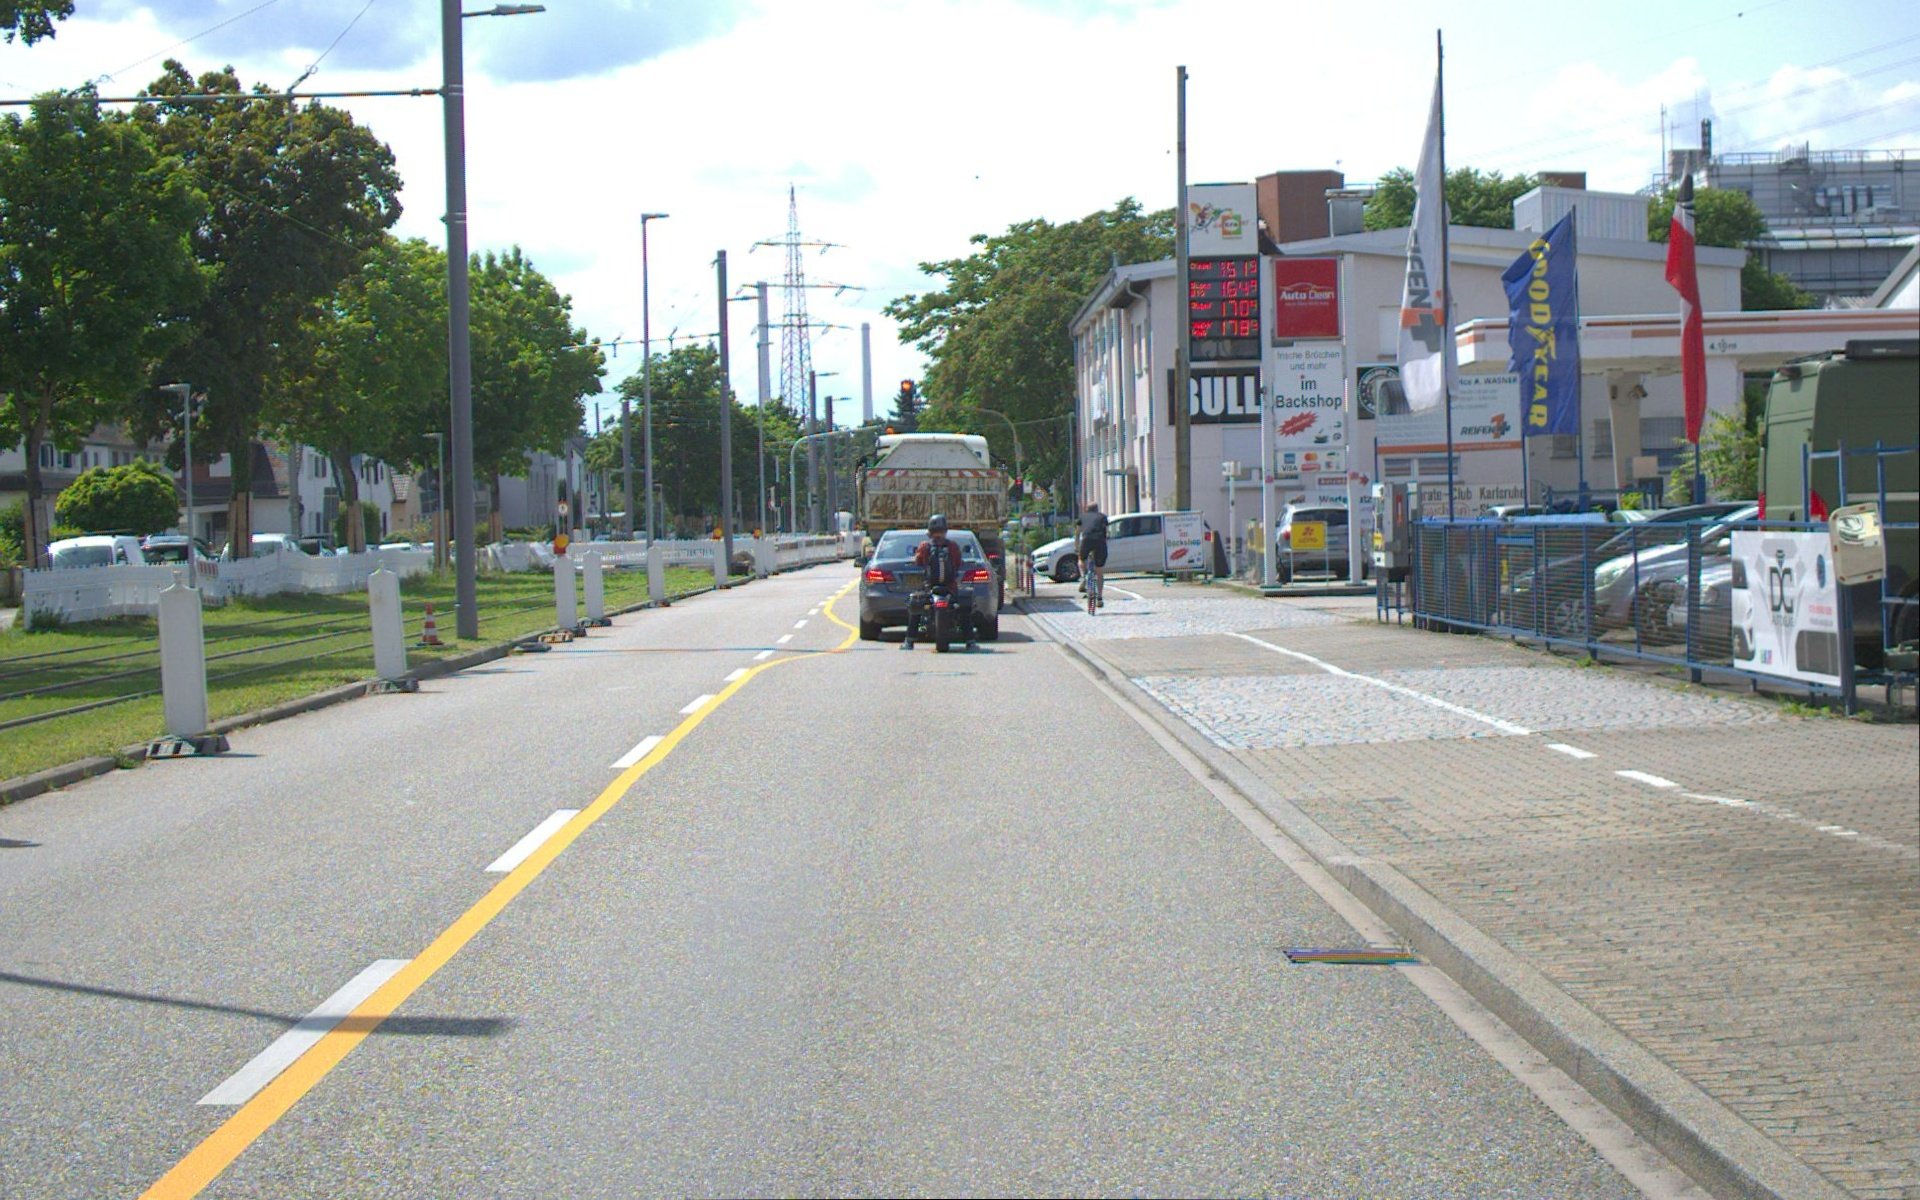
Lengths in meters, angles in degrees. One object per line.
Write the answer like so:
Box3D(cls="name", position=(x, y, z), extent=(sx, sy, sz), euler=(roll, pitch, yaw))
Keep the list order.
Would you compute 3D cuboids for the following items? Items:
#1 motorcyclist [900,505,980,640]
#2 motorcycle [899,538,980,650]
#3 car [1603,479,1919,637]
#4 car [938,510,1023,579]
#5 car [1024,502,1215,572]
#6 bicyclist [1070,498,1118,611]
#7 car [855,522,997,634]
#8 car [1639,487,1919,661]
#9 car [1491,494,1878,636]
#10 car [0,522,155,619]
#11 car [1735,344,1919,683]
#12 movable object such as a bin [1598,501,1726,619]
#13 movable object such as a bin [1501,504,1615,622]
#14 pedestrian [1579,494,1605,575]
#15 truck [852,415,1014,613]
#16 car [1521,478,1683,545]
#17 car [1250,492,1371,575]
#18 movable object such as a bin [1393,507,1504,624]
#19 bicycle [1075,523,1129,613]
Box3D(cls="motorcyclist", position=(-0.245, -0.336, 41.858), extent=(0.939, 1.609, 1.205), euler=(1, 1, 0))
Box3D(cls="motorcycle", position=(-0.252, -0.097, 42.043), extent=(0.939, 1.316, 2.645), euler=(1, 1, 0))
Box3D(cls="car", position=(8.640, -0.441, 34.927), extent=(3.990, 1.491, 1.749), euler=(-1, 1, 15))
Box3D(cls="car", position=(0.445, -1.239, 75.700), extent=(1.821, 1.459, 4.000), euler=(-1, 1, 0))
Box3D(cls="car", position=(3.874, -1.530, 83.904), extent=(4.329, 1.546, 1.950), euler=(-2, 1, -8))
Box3D(cls="bicyclist", position=(2.107, -0.722, 54.182), extent=(0.671, 1.738, 0.814), euler=(-1, 1, -1))
Box3D(cls="car", position=(-0.453, -0.324, 46.515), extent=(1.821, 1.419, 4.000), euler=(-1, 1, 0))
Box3D(cls="car", position=(8.166, -0.264, 30.111), extent=(4.184, 1.426, 1.820), euler=(-1, 1, 7))
Box3D(cls="car", position=(7.971, -0.386, 37.780), extent=(3.990, 1.438, 1.709), euler=(-1, 1, 17))
Box3D(cls="car", position=(-17.048, -0.573, 66.414), extent=(1.993, 1.744, 4.000), euler=(-2, 1, 0))
Box3D(cls="car", position=(8.683, -0.727, 27.314), extent=(4.537, 2.564, 2.151), euler=(-2, 1, 2))
Box3D(cls="movable object such as a bin", position=(8.941, -0.515, 43.838), extent=(1.320, 1.439, 0.955), euler=(-2, 1, -7))
Box3D(cls="movable object such as a bin", position=(7.615, -0.477, 43.815), extent=(1.256, 1.439, 0.824), euler=(-2, 1, 0))
Box3D(cls="pedestrian", position=(13.236, -1.371, 71.989), extent=(0.396, 1.683, 0.485), euler=(-2, 1, 1))
Box3D(cls="truck", position=(-0.436, -1.653, 62.829), extent=(2.610, 3.244, 9.183), euler=(-2, 2, 0))
Box3D(cls="car", position=(17.464, -2.399, 93.611), extent=(3.987, 1.643, 1.966), euler=(-2, 1, -1))
Box3D(cls="car", position=(7.427, -1.407, 73.278), extent=(1.959, 1.643, 4.000), euler=(-2, 1, -2))
Box3D(cls="movable object such as a bin", position=(6.237, -0.441, 43.929), extent=(1.256, 1.439, 0.824), euler=(-2, 1, 0))
Box3D(cls="bicycle", position=(2.227, -0.524, 54.279), extent=(0.693, 1.357, 2.419), euler=(-2, 1, -1))
